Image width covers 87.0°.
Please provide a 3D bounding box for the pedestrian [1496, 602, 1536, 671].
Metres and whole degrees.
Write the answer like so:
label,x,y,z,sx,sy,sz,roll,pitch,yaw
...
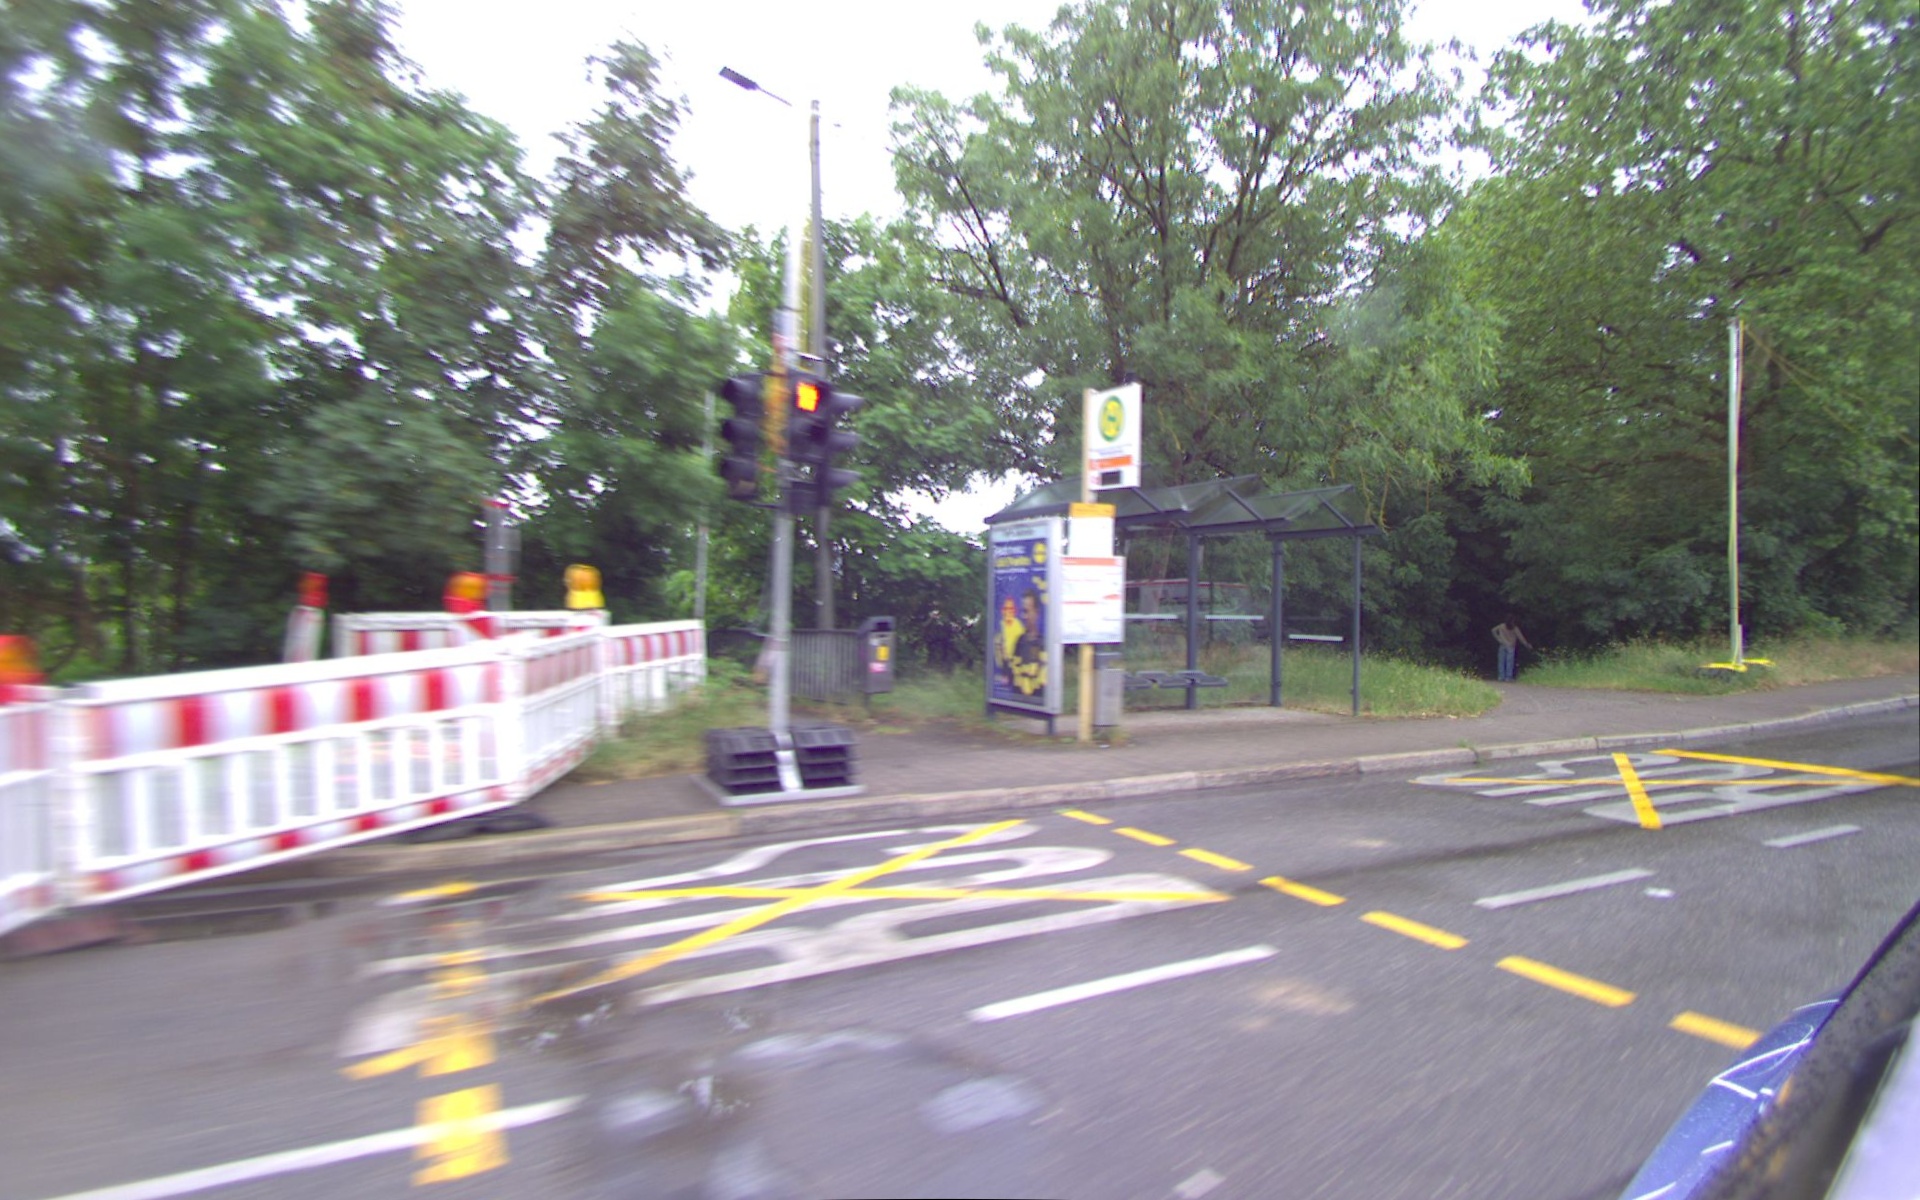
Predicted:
label,x,y,z,sx,sy,sz,roll,pitch,yaw
pedestrian,13.461,0.861,24.497,0.728,1.624,0.742,-2,-1,37
